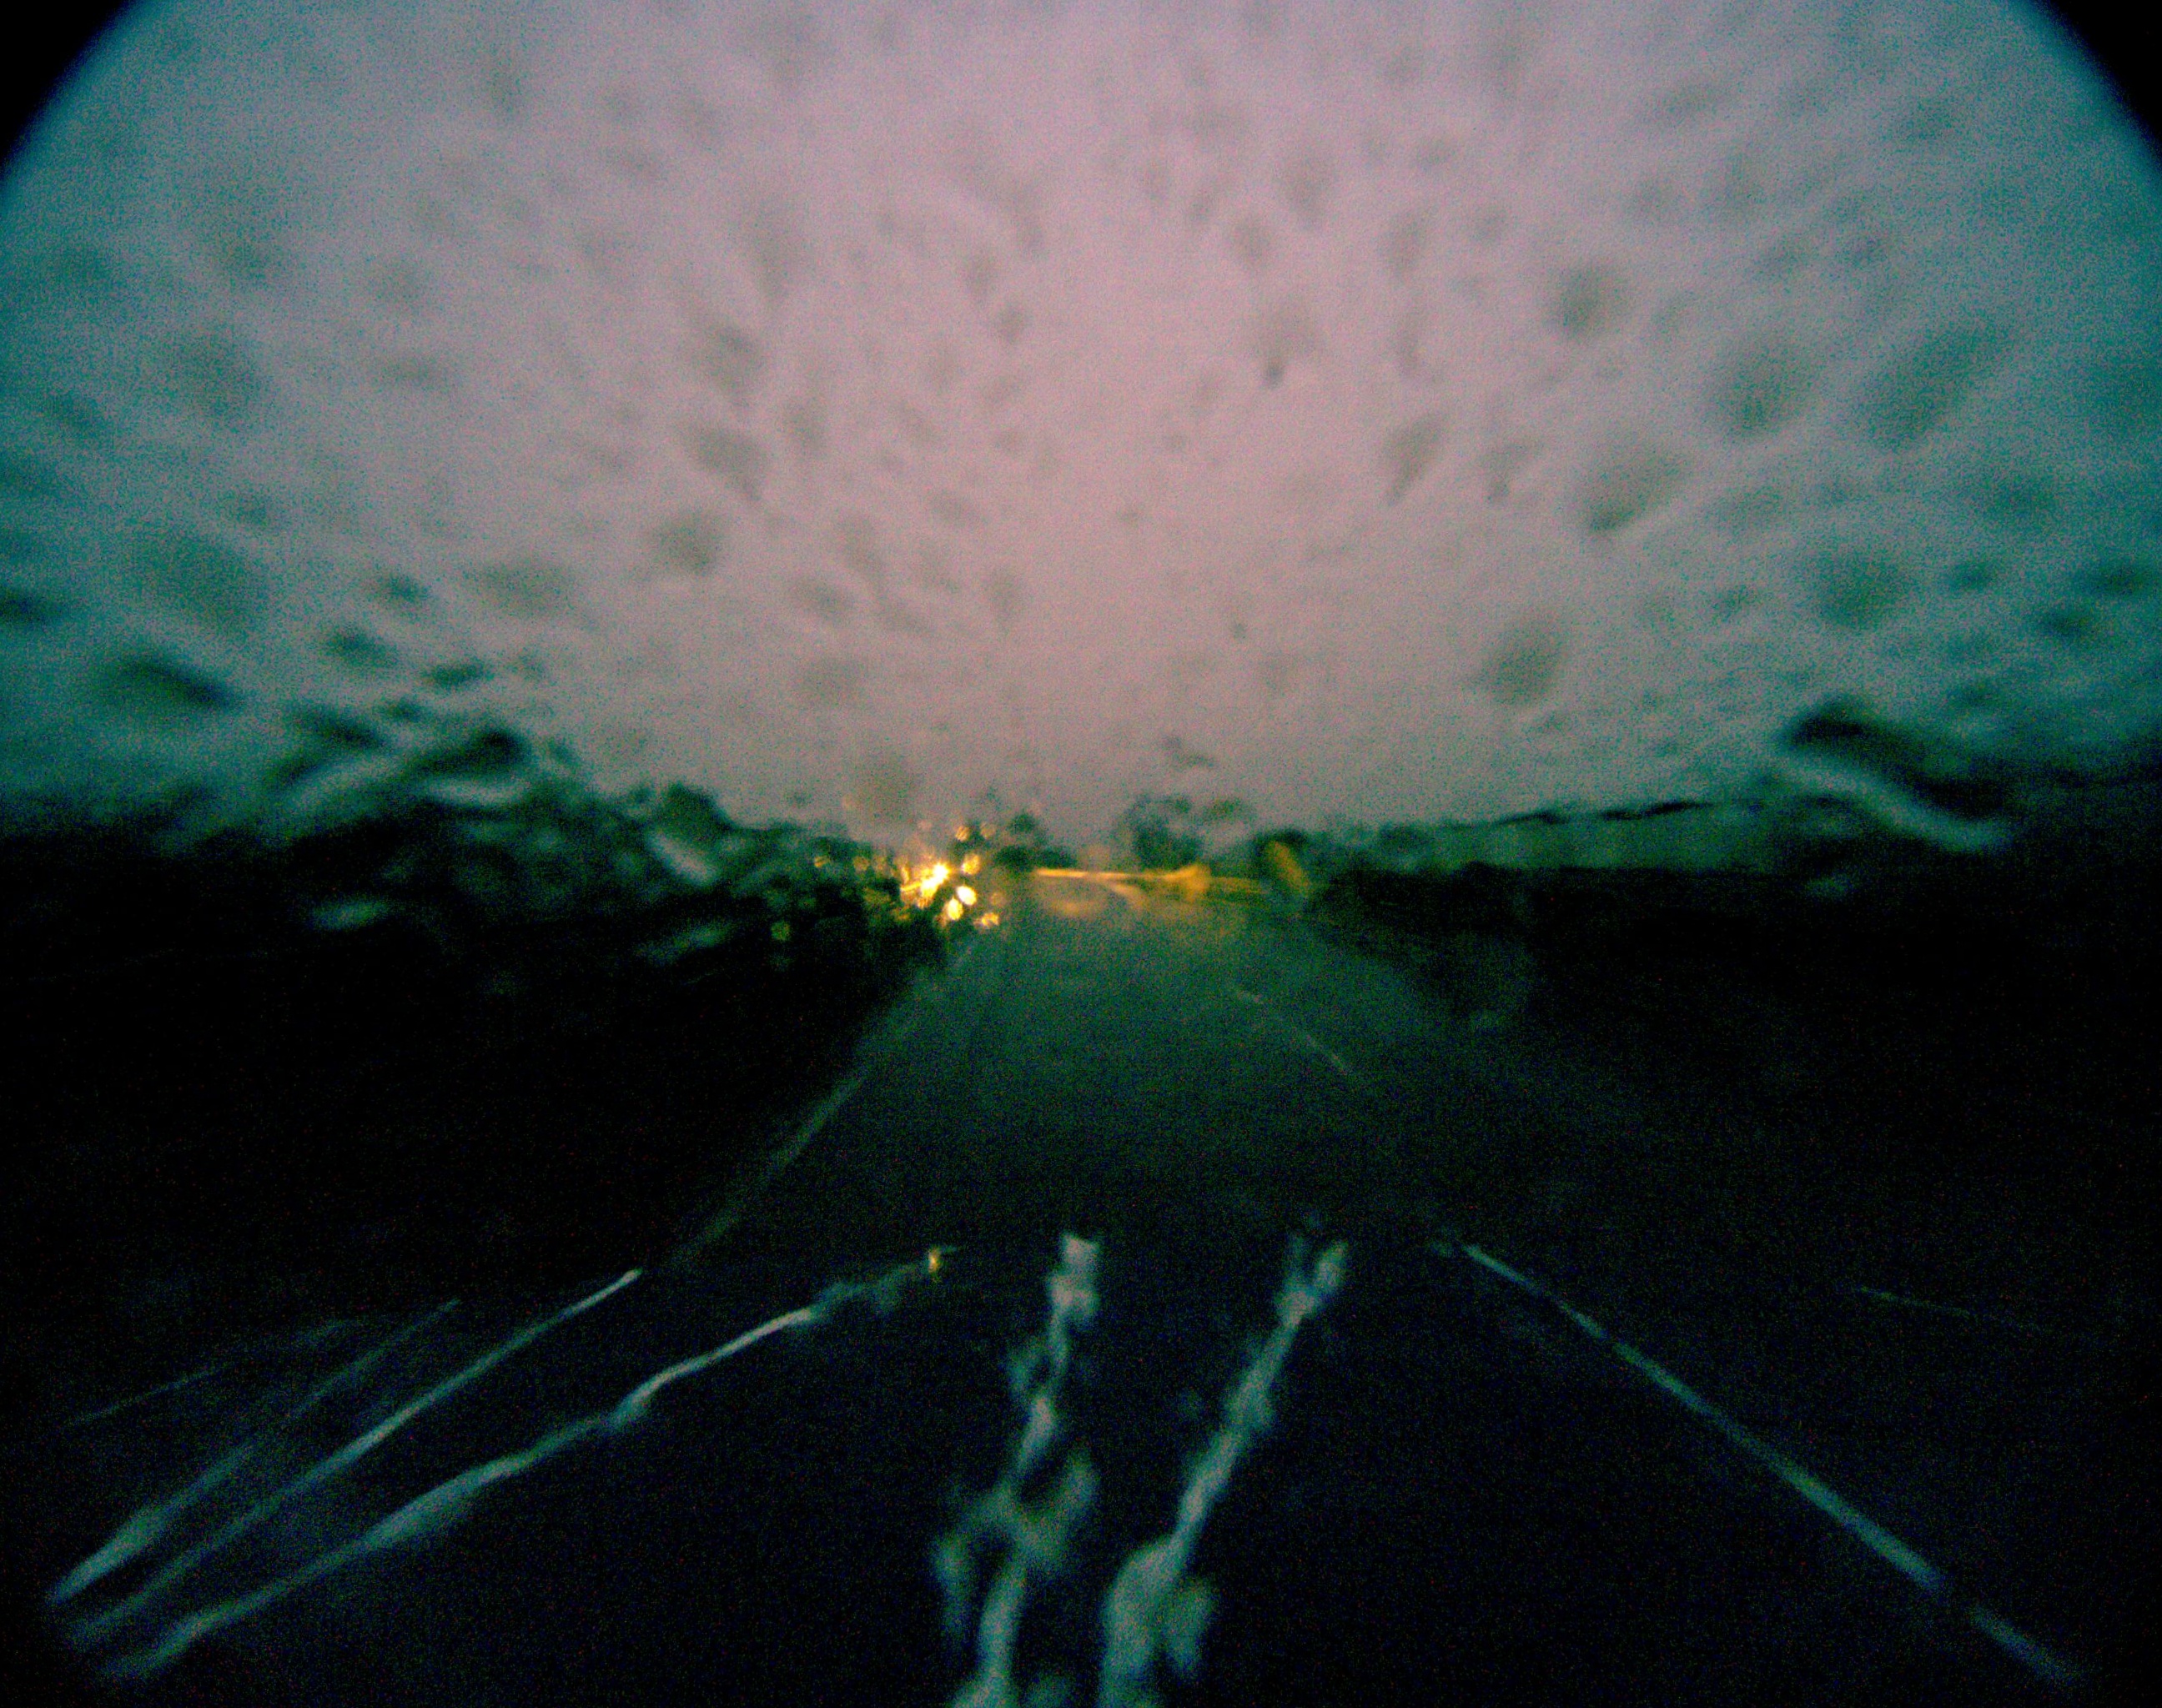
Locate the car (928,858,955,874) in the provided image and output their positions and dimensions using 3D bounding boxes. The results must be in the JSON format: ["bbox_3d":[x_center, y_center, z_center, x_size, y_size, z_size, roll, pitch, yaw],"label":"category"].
[{"bbox_3d":[-15.384,1.296,83.460,2.105,1.566,4.792,-2,0,-20],"label":"car"}]
